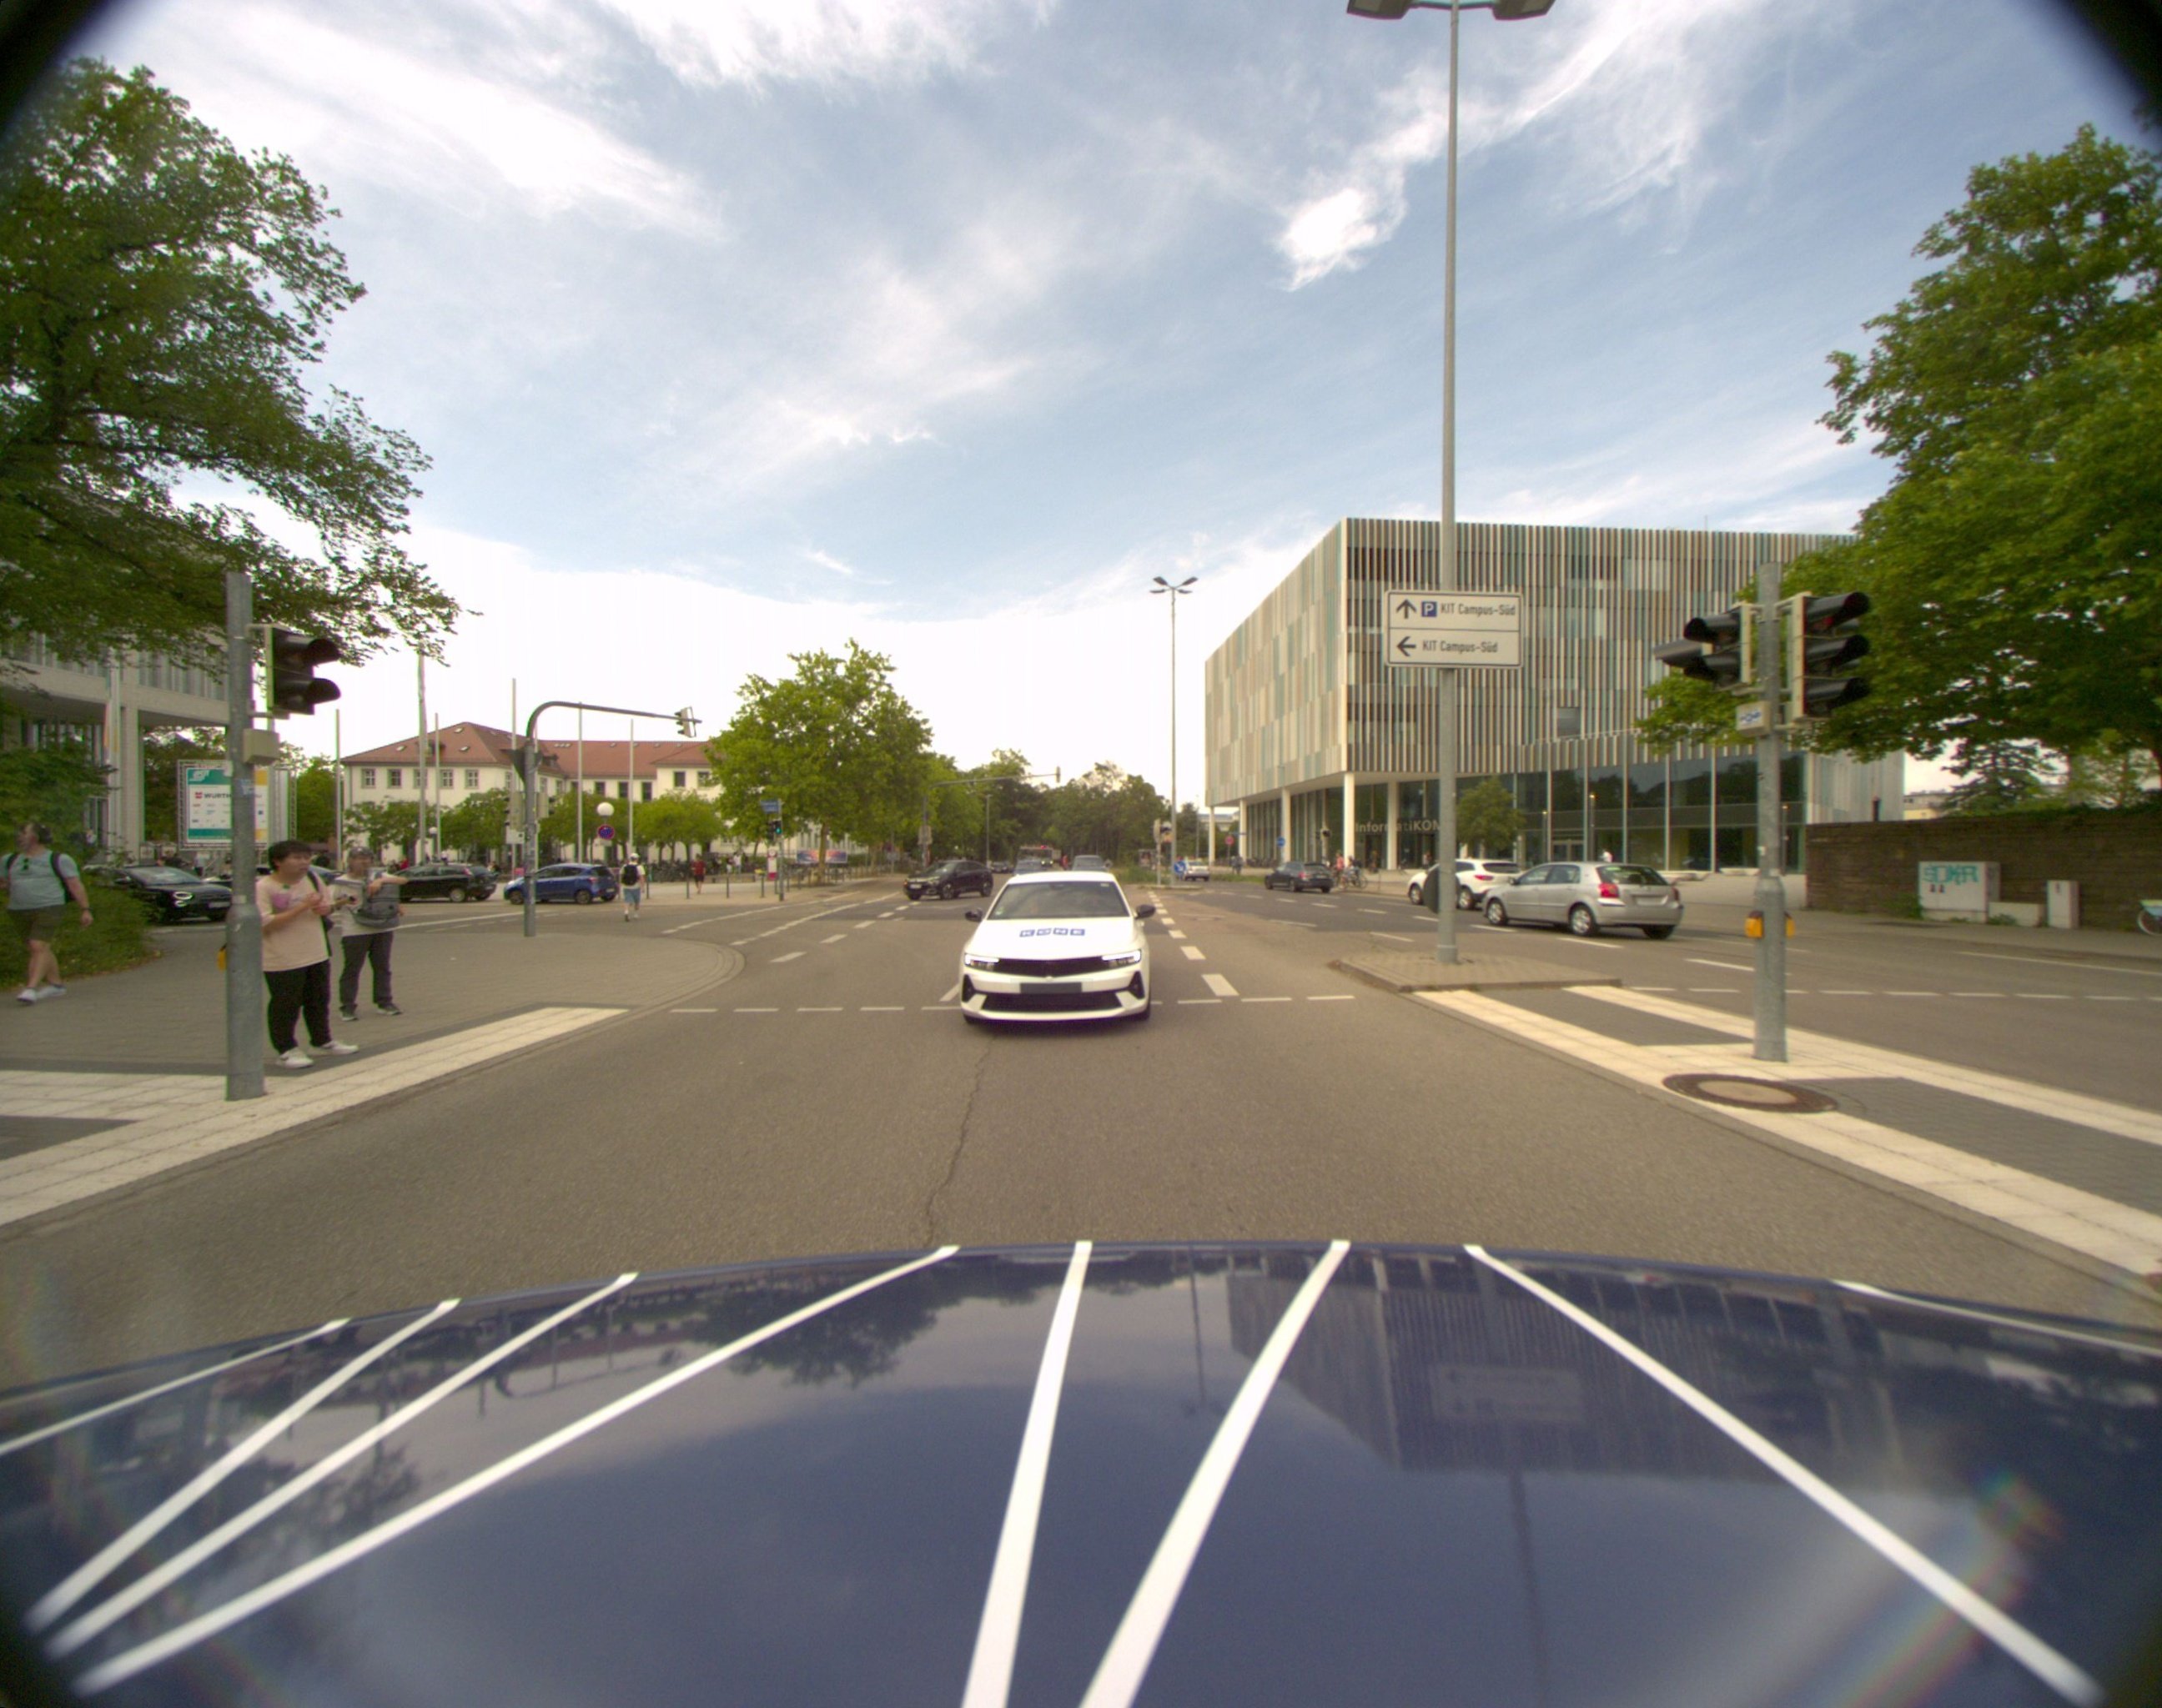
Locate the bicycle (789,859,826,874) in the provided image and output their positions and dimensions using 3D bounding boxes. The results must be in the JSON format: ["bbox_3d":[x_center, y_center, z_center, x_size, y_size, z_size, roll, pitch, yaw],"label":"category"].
[{"bbox_3d":[-20.555,0.931,57.192,2.472,1.136,0.717,0,1,-3],"label":"bicycle"}]

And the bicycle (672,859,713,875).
[{"bbox_3d":[-27.315,0.907,53.389,2.472,1.136,0.717,0,1,-3],"label":"bicycle"}]

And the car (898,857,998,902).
[{"bbox_3d":[-5.188,0.973,30.300,1.801,1.547,4.182,-2,1,25],"label":"car"}]

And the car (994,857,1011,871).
[{"bbox_3d":[-8.244,1.024,80.083,1.704,1.361,3.830,0,0,-4],"label":"car"}]

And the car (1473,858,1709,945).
[{"bbox_3d":[10.158,0.849,15.611,1.807,1.480,4.287,0,0,-3],"label":"car"}]

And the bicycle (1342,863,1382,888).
[{"bbox_3d":[14.107,1.071,38.136,1.897,1.163,0.606,0,1,-19],"label":"bicycle"}]

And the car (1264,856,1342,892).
[{"bbox_3d":[10.564,0.894,36.543,1.903,1.606,4.741,0,0,-7],"label":"car"}]

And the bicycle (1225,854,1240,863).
[{"bbox_3d":[18.771,0.550,94.156,1.704,1.017,0.434,-2,1,-9],"label":"bicycle"}]

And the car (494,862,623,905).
[{"bbox_3d":[-19.496,1.068,28.474,3.581,1.483,1.673,-1,1,-4],"label":"car"}]

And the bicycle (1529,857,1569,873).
[{"bbox_3d":[30.336,0.673,49.217,2.685,0.993,0.672,-1,1,-19],"label":"bicycle"}]

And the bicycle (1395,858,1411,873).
[{"bbox_3d":[24.059,0.834,56.792,1.549,1.023,0.393,-3,1,-41],"label":"bicycle"}]

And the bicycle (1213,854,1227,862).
[{"bbox_3d":[18.456,0.498,100.989,1.704,1.017,0.434,-2,1,-9],"label":"bicycle"}]

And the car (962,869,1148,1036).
[{"bbox_3d":[-0.414,0.971,9.538,1.745,1.430,4.780,0,0,-4],"label":"car"}]

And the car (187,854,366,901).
[{"bbox_3d":[-28.995,0.825,27.493,4.451,1.558,1.673,-1,1,-4],"label":"car"}]

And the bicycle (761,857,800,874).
[{"bbox_3d":[-21.147,0.808,53.515,2.472,1.136,0.717,0,1,-3],"label":"bicycle"}]

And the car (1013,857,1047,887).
[{"bbox_3d":[-2.735,0.916,40.290,1.704,1.485,3.830,0,0,-4],"label":"car"}]

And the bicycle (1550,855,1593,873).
[{"bbox_3d":[31.082,0.627,48.151,2.685,1.083,0.796,-1,1,-19],"label":"bicycle"}]

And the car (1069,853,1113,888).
[{"bbox_3d":[0.431,0.780,38.062,1.905,1.639,4.643,-1,0,-3],"label":"car"}]

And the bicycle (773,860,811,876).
[{"bbox_3d":[-21.104,0.991,55.573,2.472,1.136,0.717,0,1,-3],"label":"bicycle"}]

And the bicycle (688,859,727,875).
[{"bbox_3d":[-27.426,0.922,55.839,2.472,1.136,0.717,0,1,-3],"label":"bicycle"}]

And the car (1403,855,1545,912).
[{"bbox_3d":[12.432,0.860,24.403,1.870,1.642,4.419,0,0,-7],"label":"car"}]

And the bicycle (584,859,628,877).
[{"bbox_3d":[-32.420,0.951,51.863,2.472,1.136,0.717,0,1,-3],"label":"bicycle"}]

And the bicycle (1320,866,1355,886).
[{"bbox_3d":[13.434,1.148,39.787,1.693,0.983,0.571,-2,1,-18],"label":"bicycle"}]

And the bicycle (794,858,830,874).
[{"bbox_3d":[-20.534,0.919,58.048,2.472,1.136,0.717,0,1,-3],"label":"bicycle"}]

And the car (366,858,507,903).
[{"bbox_3d":[-24.051,0.949,28.457,3.694,1.558,1.673,-1,1,-4],"label":"car"}]

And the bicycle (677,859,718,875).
[{"bbox_3d":[-27.351,0.935,54.221,2.472,1.136,0.717,0,1,-3],"label":"bicycle"}]

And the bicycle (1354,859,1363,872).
[{"bbox_3d":[21.812,0.886,59.640,0.393,0.932,1.601,-2,1,30],"label":"bicycle"}]

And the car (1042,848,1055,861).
[{"bbox_3d":[-5.097,0.102,118.839,1.840,2.002,3.999,0,0,-1],"label":"car"}]

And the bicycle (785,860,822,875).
[{"bbox_3d":[-20.598,1.002,56.408,2.472,1.136,0.717,0,1,-3],"label":"bicycle"}]

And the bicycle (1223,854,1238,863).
[{"bbox_3d":[18.689,0.522,95.002,1.704,1.017,0.434,-2,1,-9],"label":"bicycle"}]

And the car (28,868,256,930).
[{"bbox_3d":[-23.990,1.117,19.532,3.581,1.434,1.683,-1,1,-3],"label":"car"}]

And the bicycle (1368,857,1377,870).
[{"bbox_3d":[22.601,0.762,58.977,0.393,0.932,1.601,-2,1,30],"label":"bicycle"}]

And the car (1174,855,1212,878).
[{"bbox_3d":[7.820,0.852,53.383,1.766,1.480,4.544,0,0,-3],"label":"car"}]

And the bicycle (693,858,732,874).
[{"bbox_3d":[-27.464,0.913,56.649,2.472,1.136,0.717,0,1,-3],"label":"bicycle"}]

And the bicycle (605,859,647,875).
[{"bbox_3d":[-32.558,0.925,54.378,2.472,1.136,0.717,0,1,-3],"label":"bicycle"}]

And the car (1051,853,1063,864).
[{"bbox_3d":[-3.779,0.636,118.808,1.661,1.455,3.998,8,0,-4],"label":"car"}]
